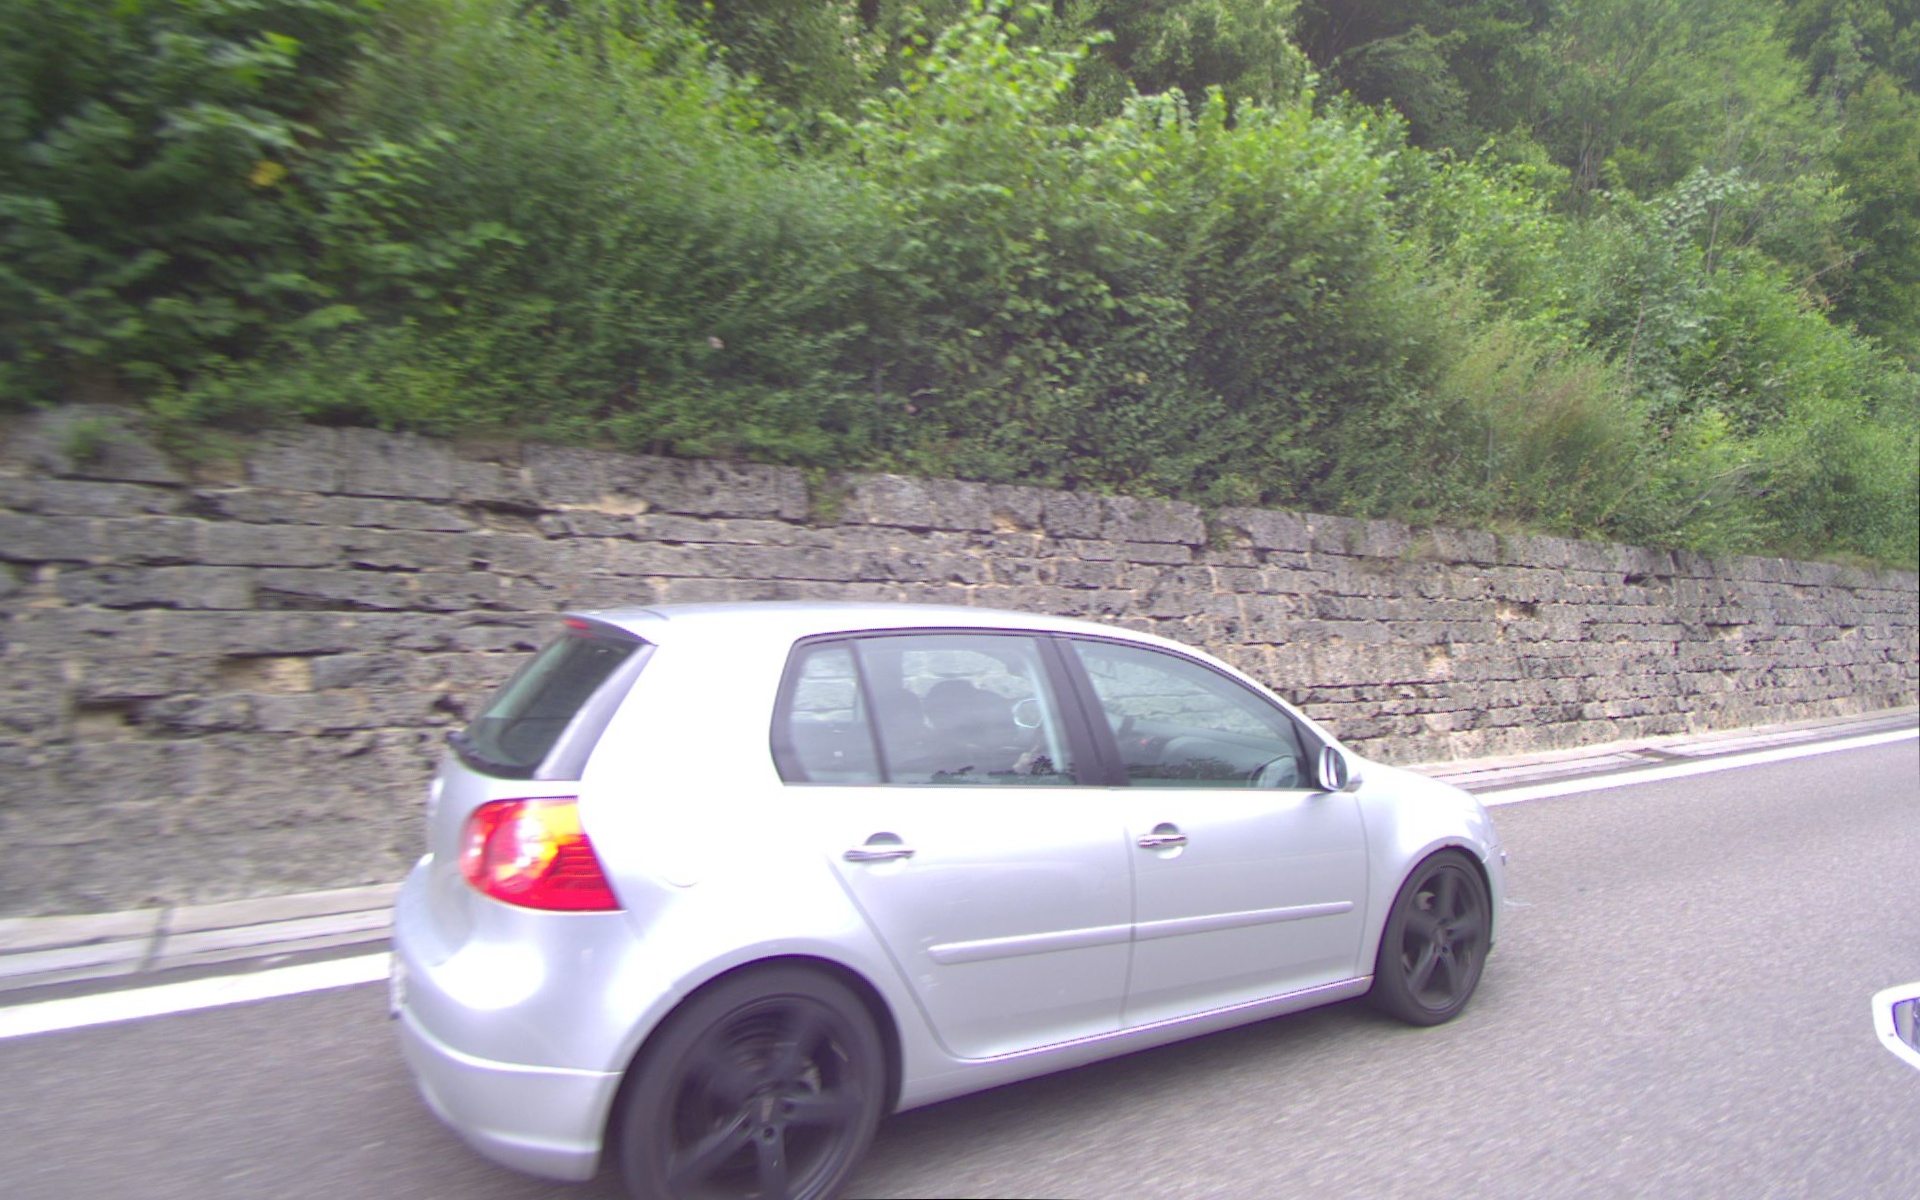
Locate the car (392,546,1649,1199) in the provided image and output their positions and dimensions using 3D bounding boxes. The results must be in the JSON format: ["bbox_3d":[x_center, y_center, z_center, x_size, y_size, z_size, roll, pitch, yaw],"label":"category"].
[{"bbox_3d":[0.512,0.731,3.734,4.531,1.535,1.673,1,-1,-31],"label":"car"}]
